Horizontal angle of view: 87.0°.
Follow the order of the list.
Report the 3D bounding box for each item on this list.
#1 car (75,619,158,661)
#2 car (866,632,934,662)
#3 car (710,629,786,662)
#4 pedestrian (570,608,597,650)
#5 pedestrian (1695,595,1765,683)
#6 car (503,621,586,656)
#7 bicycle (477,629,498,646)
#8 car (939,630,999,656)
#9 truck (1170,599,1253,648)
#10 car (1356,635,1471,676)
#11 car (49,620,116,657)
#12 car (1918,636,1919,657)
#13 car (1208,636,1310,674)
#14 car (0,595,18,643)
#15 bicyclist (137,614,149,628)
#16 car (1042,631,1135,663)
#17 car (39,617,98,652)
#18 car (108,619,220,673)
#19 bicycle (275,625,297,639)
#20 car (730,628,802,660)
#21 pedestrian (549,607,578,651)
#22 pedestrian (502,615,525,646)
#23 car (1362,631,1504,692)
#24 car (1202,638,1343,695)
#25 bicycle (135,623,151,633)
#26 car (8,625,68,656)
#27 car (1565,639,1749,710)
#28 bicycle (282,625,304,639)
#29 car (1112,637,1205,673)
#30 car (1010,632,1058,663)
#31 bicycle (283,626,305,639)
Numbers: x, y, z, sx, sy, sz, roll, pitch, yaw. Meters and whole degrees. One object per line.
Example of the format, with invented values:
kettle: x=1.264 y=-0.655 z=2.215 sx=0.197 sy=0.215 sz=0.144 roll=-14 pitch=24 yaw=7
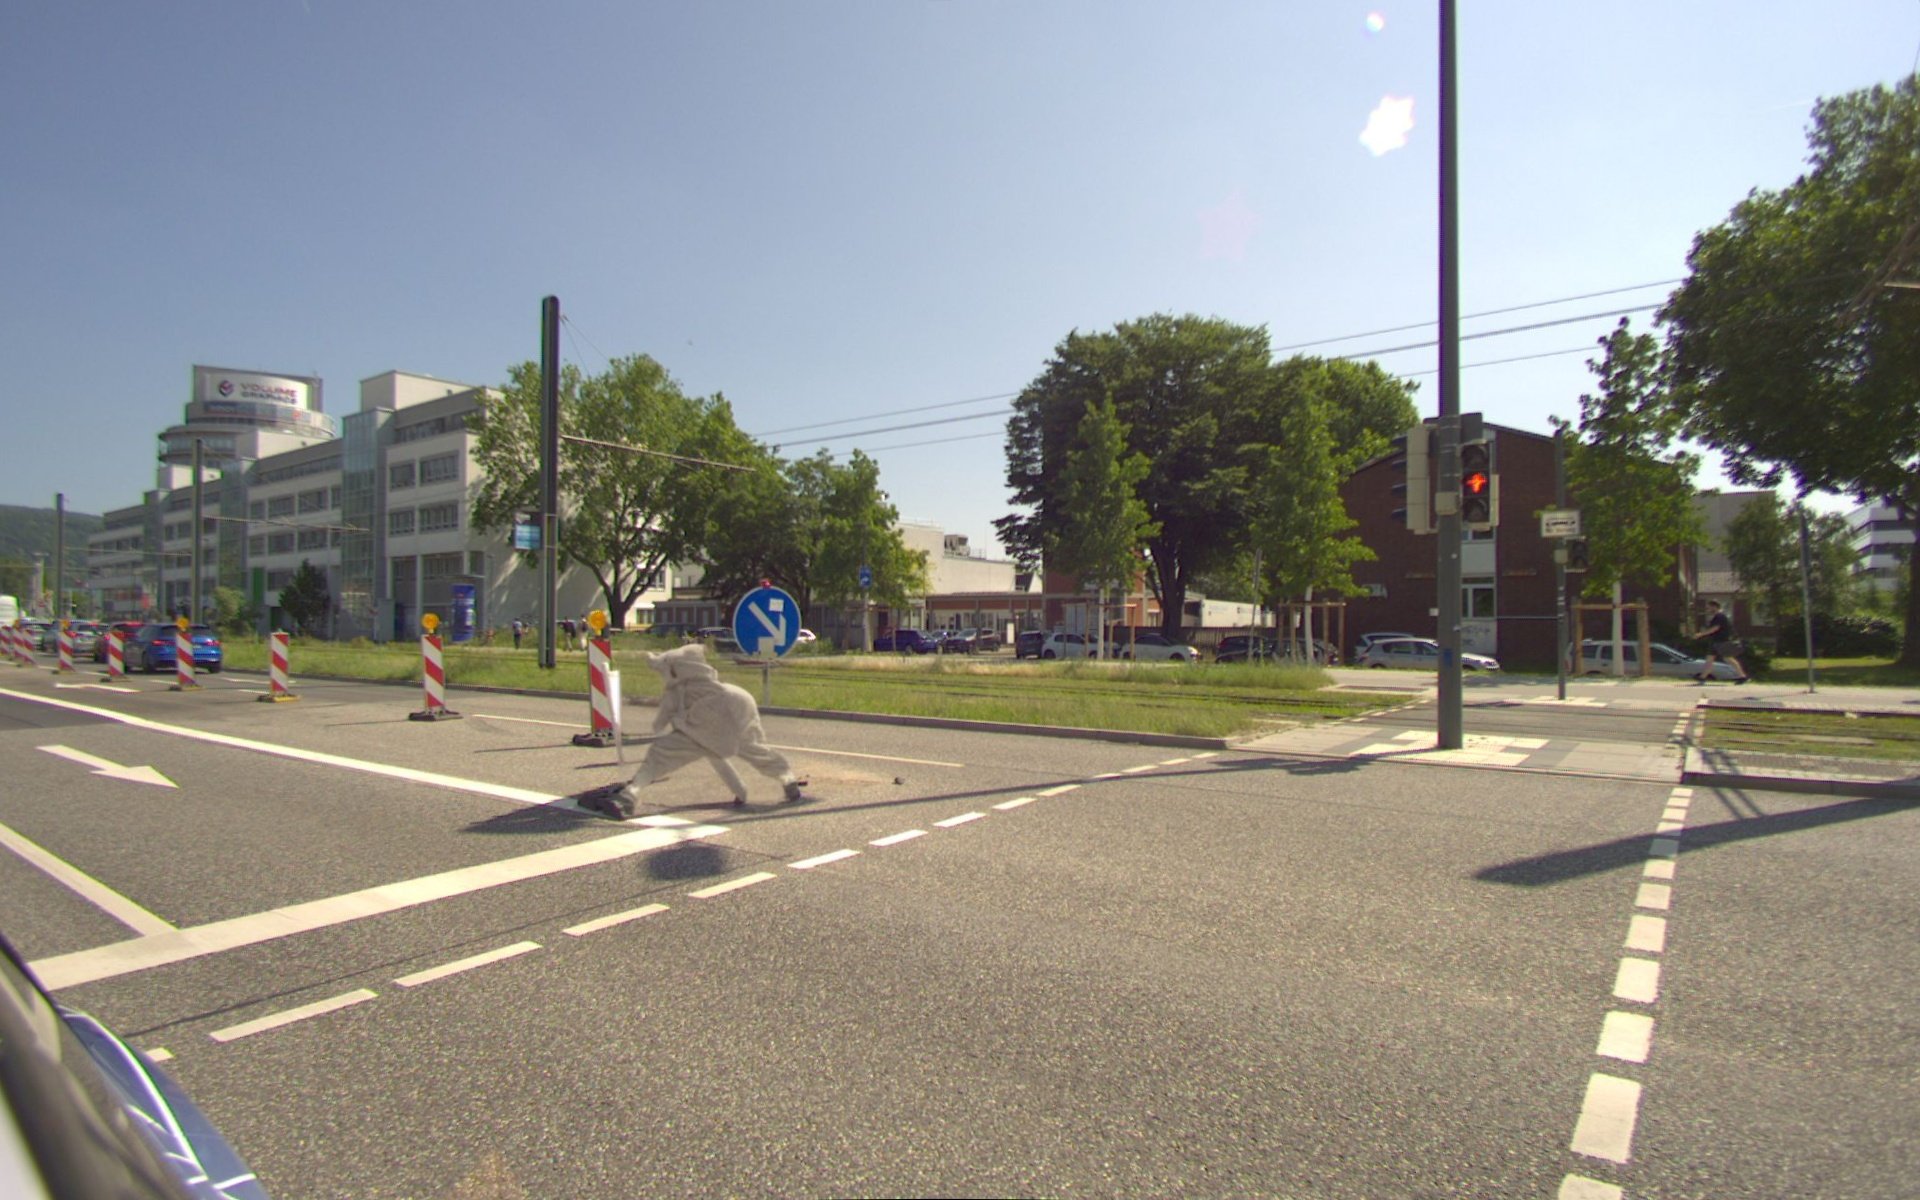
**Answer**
car: x=-30.248 y=1.404 z=36.258 sx=3.996 sy=1.427 sz=1.564 roll=-1 pitch=-2 yaw=40
car: x=-3.478 y=2.686 z=58.754 sx=3.626 sy=1.603 sz=1.754 roll=-1 pitch=0 yaw=33
car: x=-10.933 y=2.311 z=52.114 sx=3.626 sy=1.603 sz=1.754 roll=-1 pitch=0 yaw=33
pedestrian: x=-18.083 y=1.385 z=48.653 sx=0.983 sy=2.029 sz=0.830 roll=-1 pitch=-1 yaw=40
pedestrian: x=16.736 y=0.829 z=21.994 sx=1.107 sy=1.861 sz=0.802 roll=-1 pitch=-1 yaw=44
car: x=-27.504 y=2.497 z=66.973 sx=4.988 sy=2.196 sz=2.121 roll=1 pitch=-1 yaw=-25
bicycle: x=-26.990 y=2.134 z=57.791 sx=1.556 sy=0.993 sz=0.455 roll=-1 pitch=-1 yaw=41
car: x=0.524 y=2.541 z=60.825 sx=3.339 sy=1.464 sz=1.523 roll=-1 pitch=0 yaw=36
truck: x=23.536 y=2.039 z=94.113 sx=2.884 sy=4.113 sz=12.488 roll=-1 pitch=0 yaw=36
car: x=17.396 y=2.084 z=38.900 sx=3.782 sy=1.468 sz=1.524 roll=-1 pitch=-1 yaw=38
car: x=-36.244 y=1.549 z=41.770 sx=4.295 sy=1.427 sz=1.563 roll=-1 pitch=-2 yaw=42
car: x=66.969 y=3.239 z=68.965 sx=1.997 sy=1.413 sz=3.950 roll=0 pitch=0 yaw=37
car: x=12.376 y=2.238 z=41.986 sx=3.778 sy=1.468 sz=1.525 roll=-1 pitch=-1 yaw=35
car: x=-57.760 y=1.114 z=59.797 sx=5.978 sy=2.761 sz=2.057 roll=-1 pitch=-3 yaw=38
bicyclist: x=-87.674 y=2.247 z=108.615 sx=1.076 sy=1.551 sz=0.747 roll=0 pitch=0 yaw=39
car: x=6.098 y=2.216 z=48.310 sx=4.261 sy=1.468 sz=1.524 roll=-1 pitch=-1 yaw=38
car: x=-41.412 y=1.594 z=46.991 sx=3.619 sy=1.542 sz=1.563 roll=-1 pitch=-3 yaw=41
car: x=-22.795 y=1.272 z=28.932 sx=4.286 sy=1.438 sz=1.612 roll=-1 pitch=-3 yaw=40
bicycle: x=-62.759 y=3.000 z=94.298 sx=0.522 sy=1.198 sz=1.628 roll=-1 pitch=0 yaw=43
car: x=-10.481 y=2.333 z=54.695 sx=3.626 sy=1.603 sz=1.754 roll=-1 pitch=0 yaw=33
pedestrian: x=-18.749 y=1.378 z=47.884 sx=0.909 sy=2.029 sz=0.973 roll=-1 pitch=0 yaw=40
pedestrian: x=-23.089 y=1.561 z=52.352 sx=0.826 sy=1.588 sz=0.805 roll=-1 pitch=-1 yaw=43
car: x=15.397 y=1.945 z=33.046 sx=3.935 sy=1.774 sz=1.682 roll=0 pitch=0 yaw=38
car: x=11.145 y=2.329 z=36.244 sx=4.524 sy=1.774 sz=1.682 roll=0 pitch=0 yaw=38
bicycle: x=-87.656 y=2.975 z=108.589 sx=2.828 sy=1.025 sz=0.747 roll=0 pitch=0 yaw=39
car: x=-46.757 y=2.029 z=51.274 sx=4.465 sy=1.454 sz=1.656 roll=-1 pitch=-3 yaw=40
car: x=20.160 y=2.079 z=29.384 sx=4.295 sy=1.774 sz=1.682 roll=0 pitch=0 yaw=38
bicycle: x=-61.600 y=2.977 z=93.505 sx=0.438 sy=1.198 sz=1.628 roll=-1 pitch=0 yaw=43
car: x=8.764 y=2.398 z=44.826 sx=3.777 sy=1.468 sz=1.526 roll=-1 pitch=-1 yaw=34
car: x=3.904 y=2.458 z=53.007 sx=1.532 sy=1.468 sz=3.726 roll=-1 pitch=-1 yaw=20
bicycle: x=-60.715 y=2.961 z=92.304 sx=0.438 sy=1.198 sz=1.630 roll=-1 pitch=0 yaw=39
